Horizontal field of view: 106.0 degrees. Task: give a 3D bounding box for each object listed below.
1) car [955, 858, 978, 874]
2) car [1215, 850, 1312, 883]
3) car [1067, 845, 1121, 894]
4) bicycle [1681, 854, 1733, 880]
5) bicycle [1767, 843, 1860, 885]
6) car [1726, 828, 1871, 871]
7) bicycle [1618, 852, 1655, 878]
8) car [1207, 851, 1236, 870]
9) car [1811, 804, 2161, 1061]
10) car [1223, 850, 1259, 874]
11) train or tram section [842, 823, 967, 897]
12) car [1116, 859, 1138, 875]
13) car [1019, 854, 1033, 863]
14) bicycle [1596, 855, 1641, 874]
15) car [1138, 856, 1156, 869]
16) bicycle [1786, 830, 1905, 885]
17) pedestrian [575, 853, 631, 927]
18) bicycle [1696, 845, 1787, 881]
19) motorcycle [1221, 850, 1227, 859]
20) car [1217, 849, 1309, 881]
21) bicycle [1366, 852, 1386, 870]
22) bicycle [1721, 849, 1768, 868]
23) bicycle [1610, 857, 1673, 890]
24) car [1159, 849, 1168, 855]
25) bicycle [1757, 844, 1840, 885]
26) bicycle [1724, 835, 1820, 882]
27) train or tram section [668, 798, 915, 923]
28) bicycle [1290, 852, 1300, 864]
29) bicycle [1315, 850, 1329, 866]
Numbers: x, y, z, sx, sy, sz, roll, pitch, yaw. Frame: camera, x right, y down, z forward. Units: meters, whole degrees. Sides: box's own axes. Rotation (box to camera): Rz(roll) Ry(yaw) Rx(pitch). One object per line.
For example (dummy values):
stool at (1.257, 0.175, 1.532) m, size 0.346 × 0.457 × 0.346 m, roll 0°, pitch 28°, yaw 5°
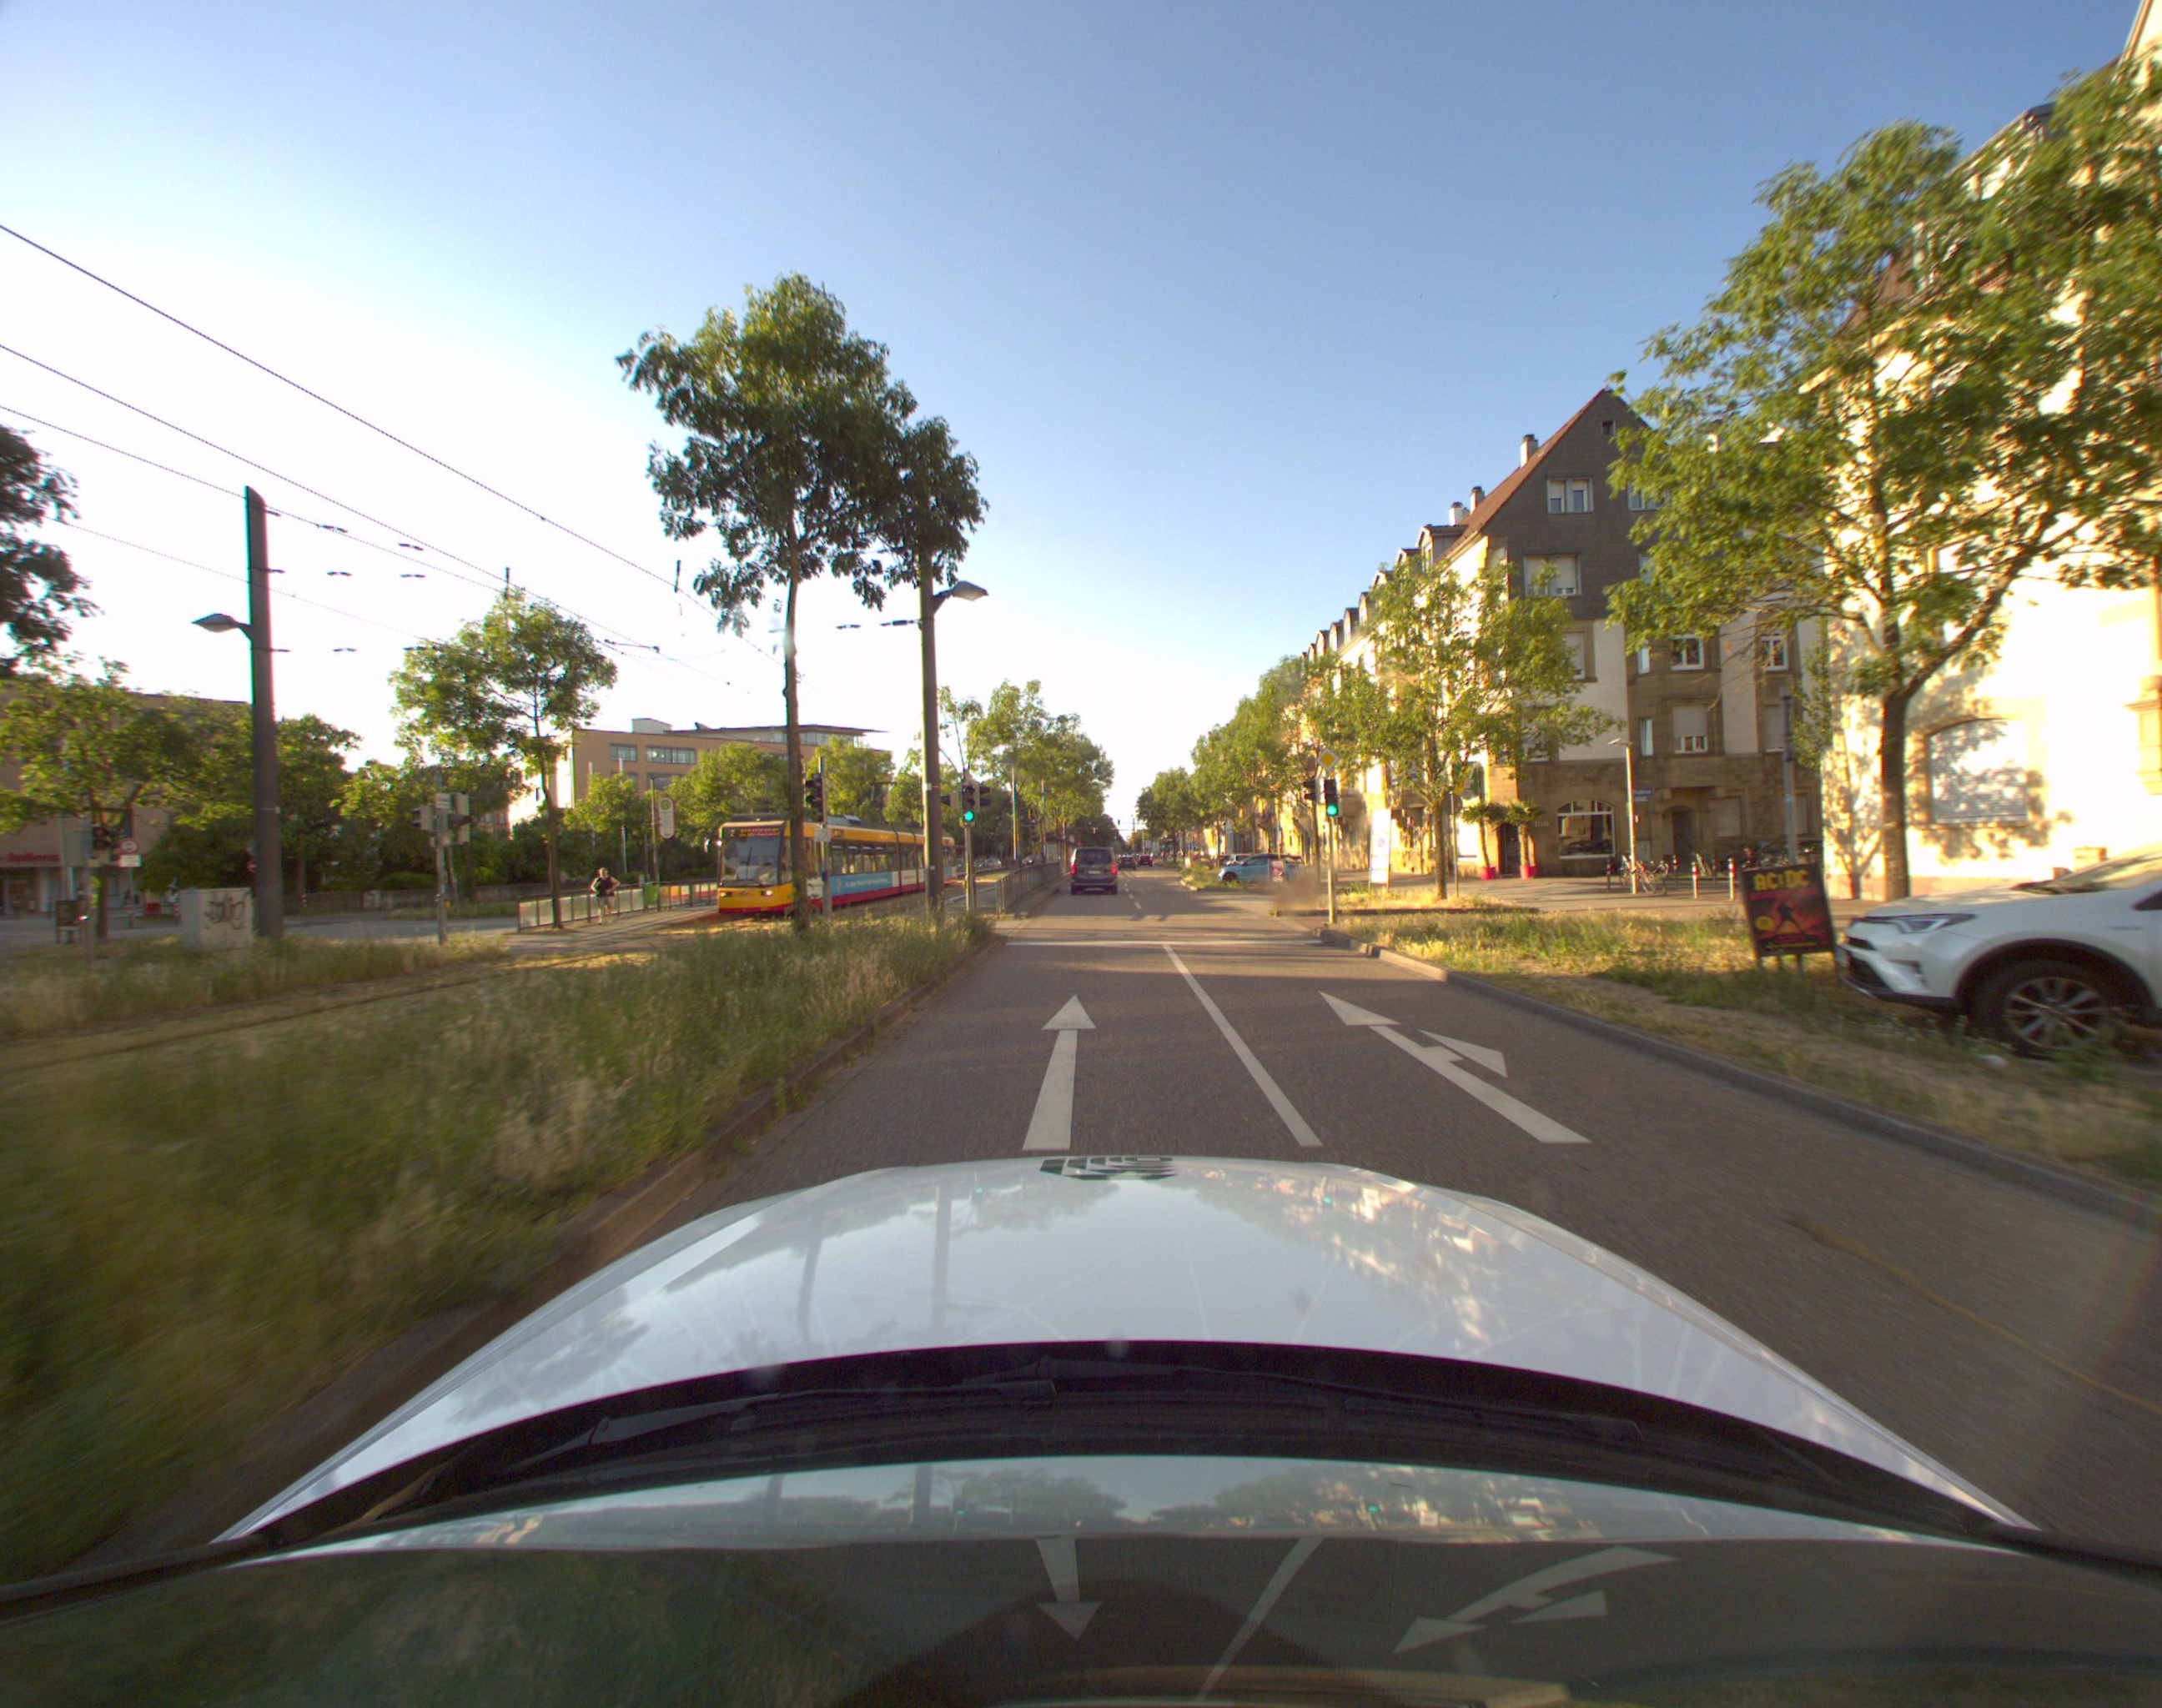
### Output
car at (-13.030, 1.329, 93.140) m, size 1.852 × 1.654 × 4.002 m, roll -2°, pitch 0°, yaw 2°
car at (9.022, 0.617, 40.368) m, size 4.232 × 1.522 × 1.859 m, roll -2°, pitch 0°, yaw 34°
car at (0.605, 0.605, 33.725) m, size 1.984 × 1.900 × 4.304 m, roll 0°, pitch 0°, yaw 4°
bicycle at (24.555, 0.480, 31.972) m, size 0.626 × 0.947 × 1.885 m, roll -2°, pitch 1°, yaw 2°
bicycle at (21.024, 0.290, 23.387) m, size 2.199 × 1.105 × 0.538 m, roll -2°, pitch 0°, yaw -3°
car at (28.150, -0.219, 32.056) m, size 3.973 × 1.466 × 2.001 m, roll -2°, pitch 2°, yaw 0°
bicycle at (21.849, 0.412, 32.063) m, size 0.623 × 0.947 × 1.893 m, roll -2°, pitch 1°, yaw 16°
car at (11.259, 0.493, 65.432) m, size 1.697 × 1.448 × 4.291 m, roll 1°, pitch 0°, yaw 2°
car at (8.222, 0.482, 5.747) m, size 4.375 × 1.691 × 1.928 m, roll -2°, pitch 0°, yaw 37°
car at (10.959, 0.523, 55.967) m, size 1.719 × 1.512 × 4.273 m, roll 1°, pitch 0°, yaw 1°
train or tram section at (-9.238, 0.296, 45.112) m, size 3.418 × 3.339 × 13.863 m, roll -2°, pitch 0°, yaw 2°
car at (4.631, 1.330, 82.252) m, size 1.988 × 1.510 × 3.998 m, roll -1°, pitch 0°, yaw -1°
car at (-8.601, 0.721, 126.868) m, size 1.788 × 1.415 × 4.342 m, roll -1°, pitch 0°, yaw 1°
bicycle at (22.824, 0.450, 34.579) m, size 1.536 × 0.735 × 0.531 m, roll -2°, pitch 1°, yaw 1°
car at (8.033, 1.067, 99.156) m, size 1.986 × 1.510 × 4.001 m, roll -1°, pitch 0°, yaw 1°
bicycle at (21.109, 0.091, 22.510) m, size 2.658 × 1.384 × 0.730 m, roll -2°, pitch 0°, yaw -3°
pedestrian at (-13.547, 0.999, 23.111) m, size 0.931 × 2.013 × 0.957 m, roll -2°, pitch -1°, yaw 1°
bicycle at (20.937, 0.281, 25.838) m, size 2.322 × 1.050 × 0.730 m, roll -2°, pitch 0°, yaw -3°
motorcycle at (19.516, 0.051, 111.111) m, size 0.552 × 1.214 × 2.072 m, roll -1°, pitch 0°, yaw 0°
car at (9.555, 0.555, 42.882) m, size 4.286 × 1.571 × 2.014 m, roll 0°, pitch 1°, yaw 31°
bicycle at (18.145, 0.409, 50.106) m, size 0.570 × 1.073 × 1.897 m, roll -3°, pitch 0°, yaw 2°
bicycle at (28.173, 0.178, 34.572) m, size 1.536 × 0.735 × 0.531 m, roll -2°, pitch 1°, yaw 1°
bicycle at (16.349, 0.550, 23.807) m, size 0.458 × 0.872 × 1.885 m, roll -8°, pitch -1°, yaw 2°
car at (24.649, -0.525, 243.721) m, size 1.988 × 1.656 × 4.297 m, roll -2°, pitch 0°, yaw -1°
bicycle at (21.171, 0.300, 24.033) m, size 1.967 × 1.124 × 0.574 m, roll -2°, pitch 0°, yaw -3°
bicycle at (21.194, 0.133, 24.993) m, size 2.343 × 1.320 × 0.730 m, roll -2°, pitch 0°, yaw -3°
train or tram section at (-9.761, 0.194, 30.656) m, size 3.418 × 3.430 × 15.033 m, roll -2°, pitch 0°, yaw 2°
bicycle at (18.653, 0.319, 70.925) m, size 0.481 × 1.005 × 1.747 m, roll -2°, pitch 0°, yaw 2°
bicycle at (18.431, 0.302, 62.401) m, size 0.481 × 1.165 × 1.747 m, roll -7°, pitch 0°, yaw 2°
